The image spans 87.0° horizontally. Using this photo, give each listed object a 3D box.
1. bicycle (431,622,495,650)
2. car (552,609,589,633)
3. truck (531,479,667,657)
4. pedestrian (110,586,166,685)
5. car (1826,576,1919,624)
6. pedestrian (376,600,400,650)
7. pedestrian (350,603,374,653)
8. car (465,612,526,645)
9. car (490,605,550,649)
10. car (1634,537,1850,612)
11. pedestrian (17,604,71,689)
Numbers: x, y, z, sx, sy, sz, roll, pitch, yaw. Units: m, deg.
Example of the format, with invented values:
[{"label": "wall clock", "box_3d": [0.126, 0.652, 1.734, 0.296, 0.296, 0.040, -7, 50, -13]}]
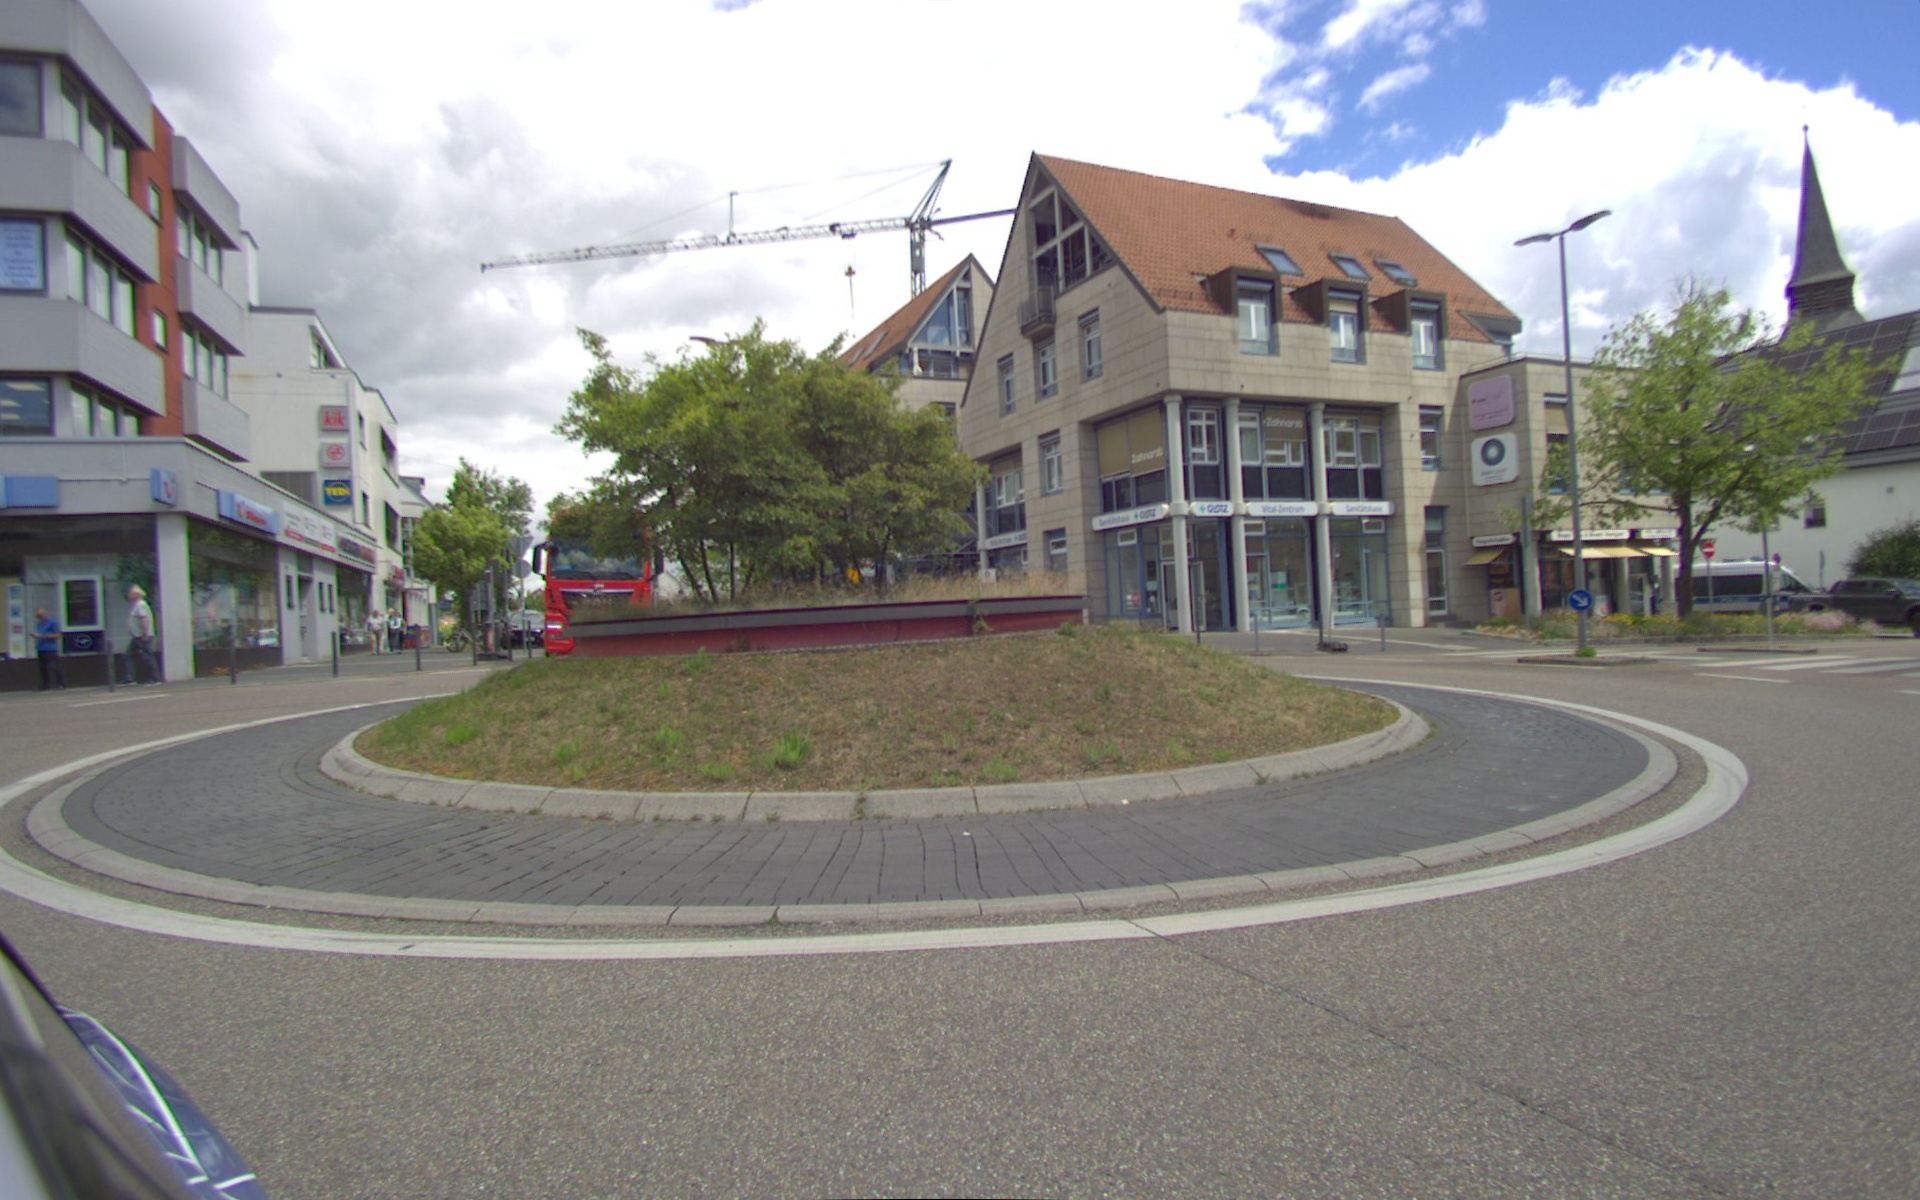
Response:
[{"label": "bicycle", "box_3d": [-17.640, 1.270, 35.947, 2.030, 0.953, 0.523, -1, -1, -25]}, {"label": "car", "box_3d": [-23.312, 1.260, 60.552, 1.653, 1.342, 3.869, -2, 0, -27]}, {"label": "truck", "box_3d": [-9.919, -0.681, 28.634, 2.916, 4.058, 10.627, -1, -1, -17]}, {"label": "pedestrian", "box_3d": [-16.188, 0.690, 19.931, 0.805, 1.889, 0.672, -2, 0, 41]}, {"label": "car", "box_3d": [29.303, -0.022, 30.967, 1.662, 1.431, 4.010, -2, 0, -13]}, {"label": "pedestrian", "box_3d": [-20.733, 0.905, 36.680, 0.503, 1.769, 0.538, -2, 0, -2]}, {"label": "pedestrian", "box_3d": [-21.457, 1.002, 36.322, 0.669, 1.769, 0.512, -2, 0, -26]}, {"label": "car", "box_3d": [-23.870, 1.457, 51.960, 1.834, 1.578, 4.384, -1, -1, -39]}, {"label": "car", "box_3d": [-17.179, 1.043, 39.677, 1.832, 1.593, 4.389, -1, -1, -20]}, {"label": "car", "box_3d": [29.240, -0.893, 38.176, 6.293, 2.579, 2.179, 0, -1, 36]}, {"label": "pedestrian", "box_3d": [-17.880, 0.895, 19.759, 0.566, 1.616, 0.600, -3, 0, 30]}]
